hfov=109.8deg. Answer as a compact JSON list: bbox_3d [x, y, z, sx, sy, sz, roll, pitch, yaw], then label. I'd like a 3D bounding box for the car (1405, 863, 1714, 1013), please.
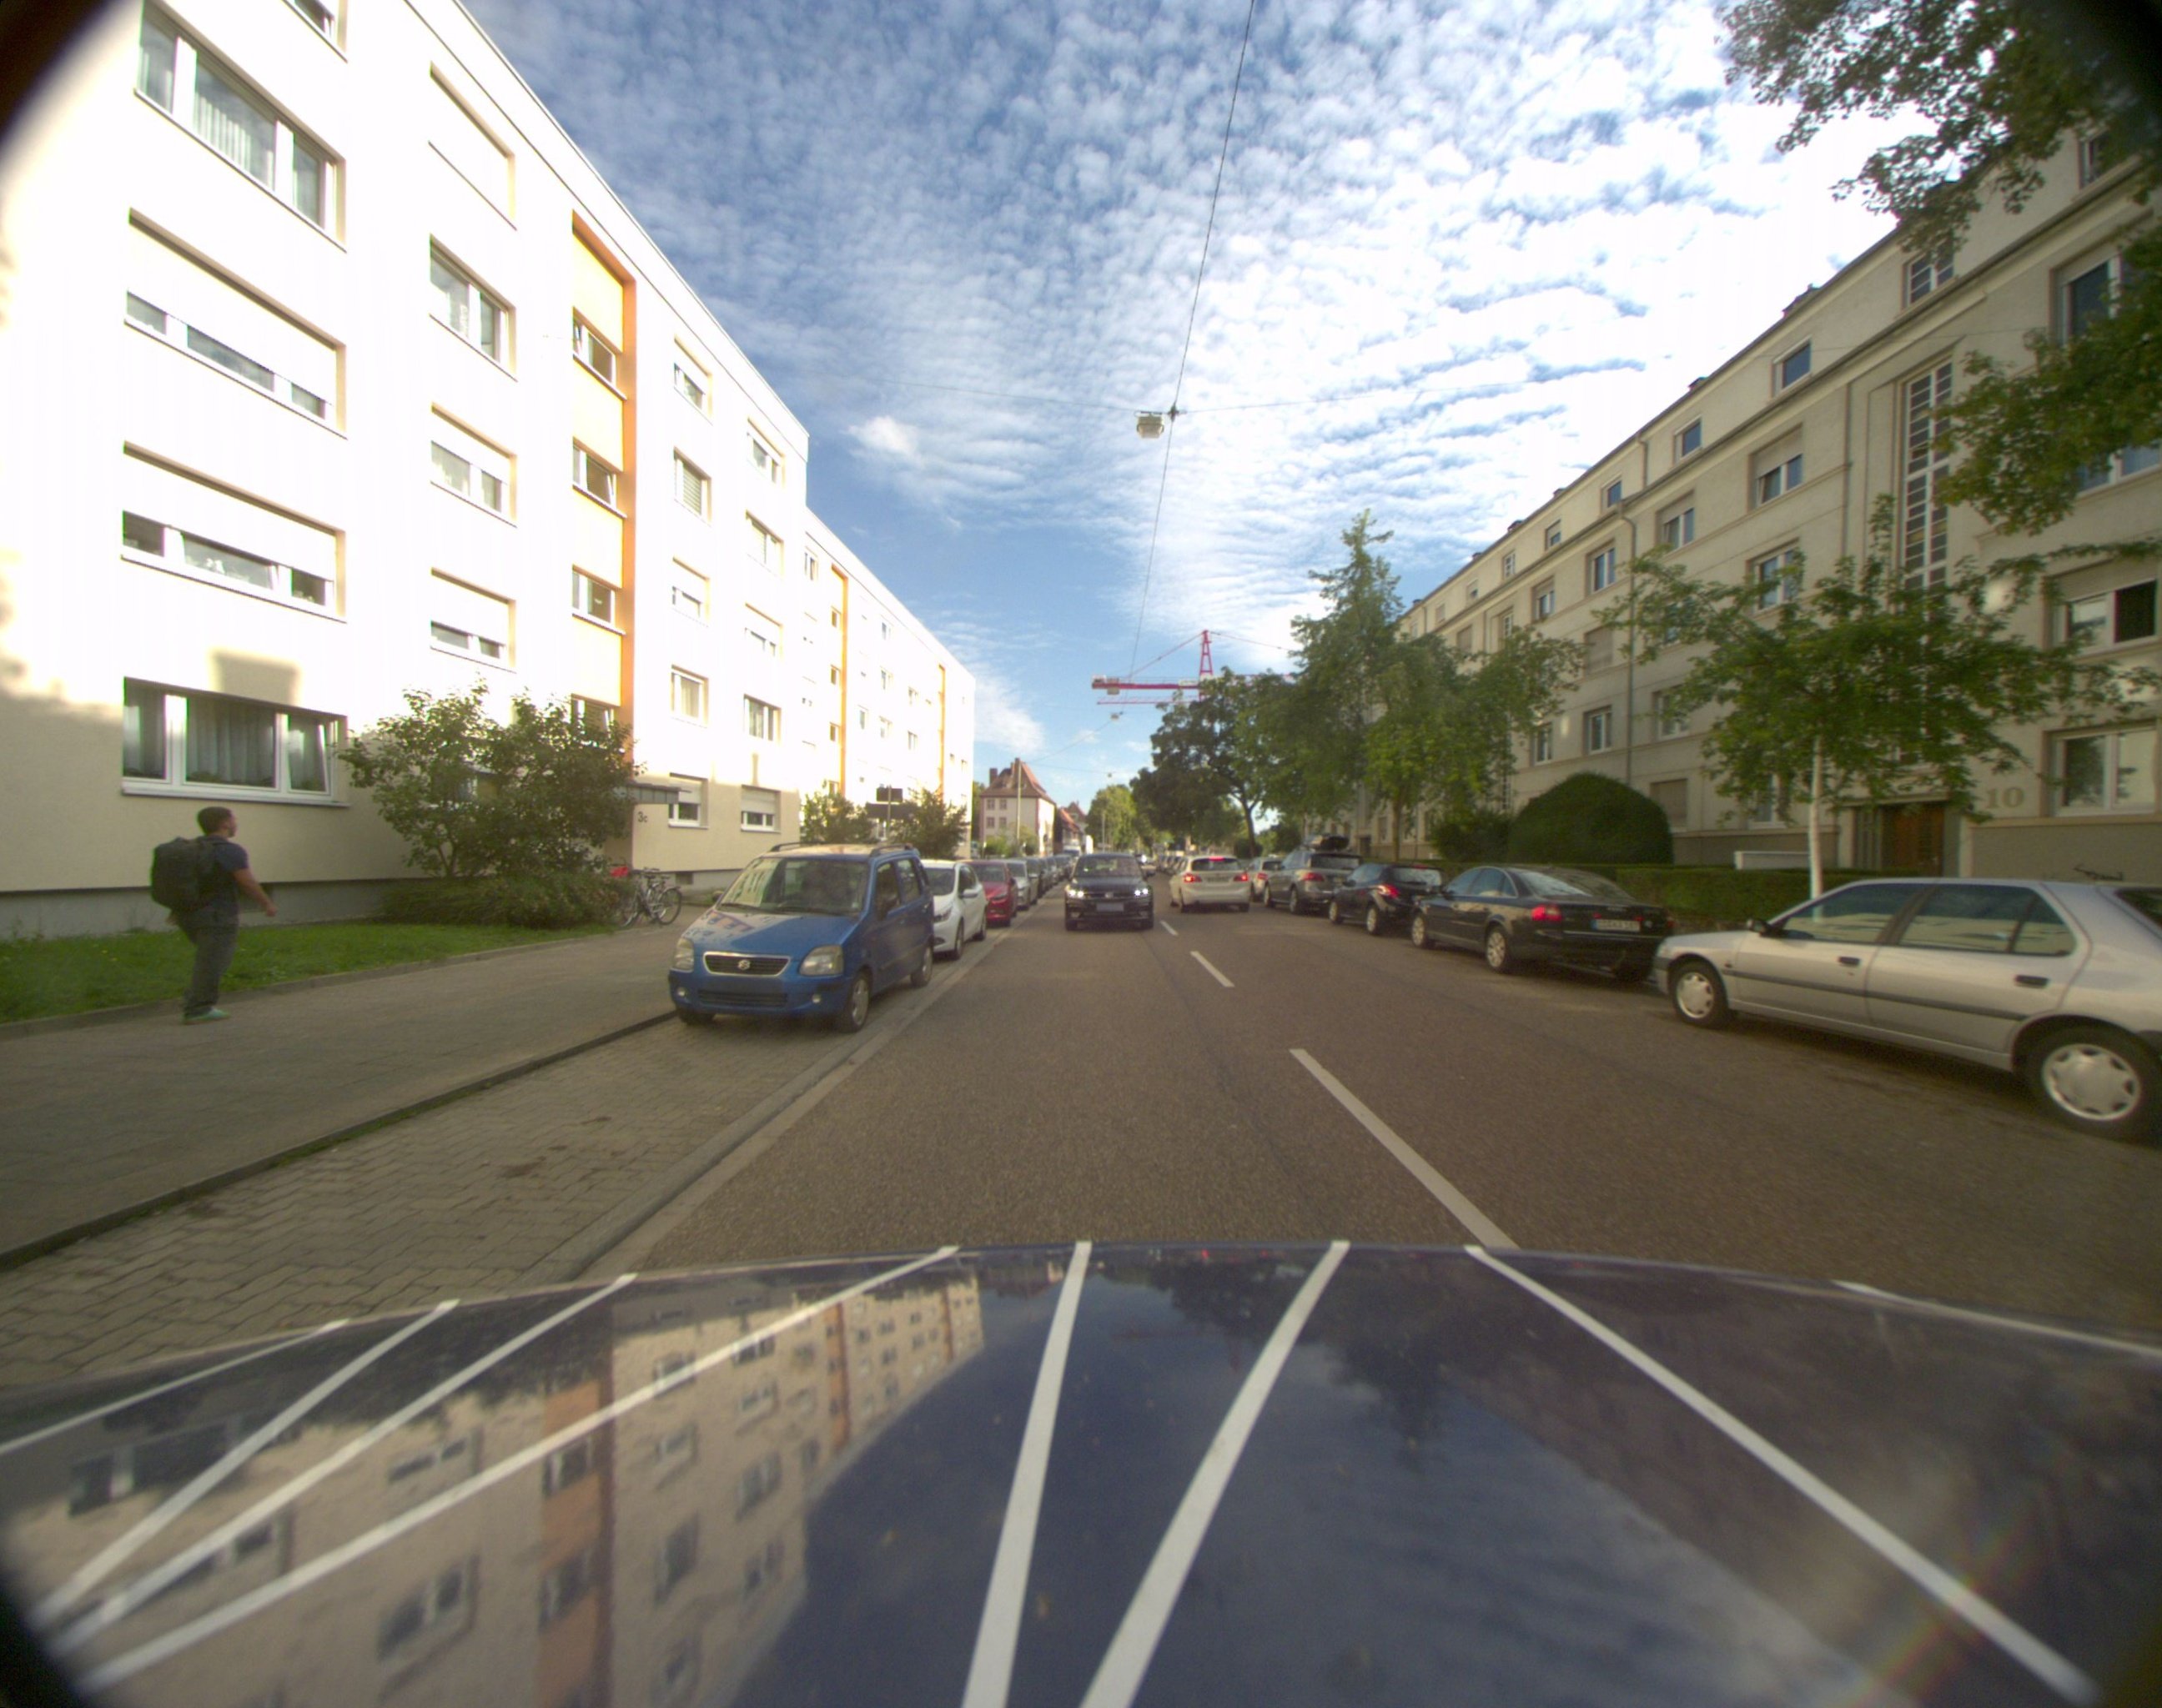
[{"bbox_3d":[6.220,0.946,10.622,1.689,1.472,4.452,4,1,4],"label":"car"}]

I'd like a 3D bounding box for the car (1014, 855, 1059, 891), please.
[{"bbox_3d":[-2.029,0.819,35.415,1.687,1.477,4.293,2,1,1],"label":"car"}]

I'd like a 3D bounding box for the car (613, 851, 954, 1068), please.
[{"bbox_3d":[-2.702,0.817,8.039,1.732,1.640,4.117,2,1,4],"label":"car"}]

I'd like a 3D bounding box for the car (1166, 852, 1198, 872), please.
[{"bbox_3d":[7.548,0.566,57.041,1.860,1.477,4.684,1,0,1],"label":"car"}]

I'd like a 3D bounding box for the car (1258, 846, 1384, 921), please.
[{"bbox_3d":[6.499,0.723,21.233,1.882,1.782,4.970,2,0,0],"label":"car"}]

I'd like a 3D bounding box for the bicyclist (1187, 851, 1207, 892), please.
[{"bbox_3d":[4.520,0.666,29.682,0.643,1.591,0.990,0,1,2],"label":"bicyclist"}]

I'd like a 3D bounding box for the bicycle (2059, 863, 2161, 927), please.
[{"bbox_3d":[18.427,0.698,13.334,0.543,1.050,1.541,0,0,1],"label":"bicycle"}]

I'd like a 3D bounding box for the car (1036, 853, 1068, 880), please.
[{"bbox_3d":[-1.719,0.709,45.780,1.688,1.492,3.873,1,0,0],"label":"car"}]

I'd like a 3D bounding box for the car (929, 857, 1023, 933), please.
[{"bbox_3d":[-2.371,0.883,18.112,1.733,1.506,4.190,1,1,-2],"label":"car"}]

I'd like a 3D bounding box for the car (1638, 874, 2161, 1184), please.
[{"bbox_3d":[6.135,0.949,5.229,1.604,1.410,3.963,3,0,0],"label":"car"}]

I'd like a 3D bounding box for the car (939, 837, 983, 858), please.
[{"bbox_3d":[-13.177,-0.715,83.804,4.275,2.179,2.368,0,1,9],"label":"car"}]

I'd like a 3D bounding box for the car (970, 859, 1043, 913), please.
[{"bbox_3d":[-2.176,0.904,23.171,1.665,1.408,4.059,2,1,2],"label":"car"}]

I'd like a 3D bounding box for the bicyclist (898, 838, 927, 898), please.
[{"bbox_3d":[-4.758,0.392,21.502,0.625,1.668,0.893,0,1,1],"label":"bicyclist"}]

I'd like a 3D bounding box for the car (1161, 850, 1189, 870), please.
[{"bbox_3d":[7.705,0.456,62.433,1.825,1.477,4.369,2,0,2],"label":"car"}]

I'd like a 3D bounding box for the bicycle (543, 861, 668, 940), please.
[{"bbox_3d":[-8.859,0.807,14.325,0.596,1.283,2.635,3,1,2],"label":"bicycle"}]

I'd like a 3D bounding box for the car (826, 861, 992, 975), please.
[{"bbox_3d":[-2.599,0.899,12.473,1.733,1.452,4.116,1,1,1],"label":"car"}]

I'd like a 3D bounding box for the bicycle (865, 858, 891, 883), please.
[{"bbox_3d":[-8.864,0.703,33.195,0.502,1.024,2.095,3,1,1],"label":"bicycle"}]

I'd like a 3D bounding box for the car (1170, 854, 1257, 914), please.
[{"bbox_3d":[3.581,0.763,21.221,1.863,1.520,4.011,0,0,2],"label":"car"}]

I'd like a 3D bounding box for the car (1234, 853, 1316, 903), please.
[{"bbox_3d":[6.746,0.771,26.906,1.859,1.564,4.460,2,0,2],"label":"car"}]

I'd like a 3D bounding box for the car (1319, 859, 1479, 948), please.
[{"bbox_3d":[6.459,0.926,15.969,1.689,1.472,4.119,4,1,2],"label":"car"}]

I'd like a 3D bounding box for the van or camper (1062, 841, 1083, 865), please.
[{"bbox_3d":[-0.909,-0.164,85.453,2.165,2.512,5.914,3,0,1],"label":"van or camper"}]

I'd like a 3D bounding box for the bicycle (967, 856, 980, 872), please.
[{"bbox_3d":[-7.250,0.689,51.440,0.597,0.992,1.692,0,2,1],"label":"bicycle"}]

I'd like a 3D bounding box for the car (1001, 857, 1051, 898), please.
[{"bbox_3d":[-2.122,0.874,30.314,1.666,1.482,3.941,2,0,0],"label":"car"}]

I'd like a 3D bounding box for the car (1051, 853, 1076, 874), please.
[{"bbox_3d":[-1.271,0.659,55.896,1.688,1.459,4.206,1,0,0],"label":"car"}]

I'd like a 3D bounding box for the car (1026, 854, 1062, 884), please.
[{"bbox_3d":[-1.933,0.769,40.533,1.704,1.455,4.179,1,0,-1],"label":"car"}]

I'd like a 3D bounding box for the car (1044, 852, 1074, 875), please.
[{"bbox_3d":[-1.444,0.600,50.832,1.687,1.427,4.207,1,0,3],"label":"car"}]

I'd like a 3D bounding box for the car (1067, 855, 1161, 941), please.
[{"bbox_3d":[0.713,0.868,17.027,1.859,1.673,4.000,-1,0,2],"label":"car"}]

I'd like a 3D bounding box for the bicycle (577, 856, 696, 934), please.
[{"bbox_3d":[-8.255,0.709,14.286,0.605,1.283,2.635,2,1,2],"label":"bicycle"}]

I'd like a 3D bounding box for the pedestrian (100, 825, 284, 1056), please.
[{"bbox_3d":[-7.030,0.642,6.046,0.543,1.711,0.772,1,1,7],"label":"pedestrian"}]

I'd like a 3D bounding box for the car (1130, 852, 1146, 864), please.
[{"bbox_3d":[7.100,0.511,95.160,1.744,1.493,4.010,0,0,1],"label":"car"}]

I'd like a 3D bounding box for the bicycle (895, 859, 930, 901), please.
[{"bbox_3d":[-4.757,0.705,21.539,0.525,1.128,1.929,0,1,1],"label":"bicycle"}]

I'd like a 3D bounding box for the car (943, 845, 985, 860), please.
[{"bbox_3d":[-12.384,-0.161,80.480,4.084,1.473,1.872,0,1,10],"label":"car"}]

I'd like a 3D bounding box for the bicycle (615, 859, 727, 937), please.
[{"bbox_3d":[-7.614,0.752,14.285,0.605,1.283,2.635,1,1,2],"label":"bicycle"}]

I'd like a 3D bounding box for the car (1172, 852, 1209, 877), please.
[{"bbox_3d":[7.400,0.685,51.657,1.860,1.477,4.798,4,0,1],"label":"car"}]

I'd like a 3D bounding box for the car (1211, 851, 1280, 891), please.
[{"bbox_3d":[6.852,0.644,32.175,1.860,1.477,4.944,3,0,1],"label":"car"}]

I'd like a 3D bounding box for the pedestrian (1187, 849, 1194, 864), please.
[{"bbox_3d":[12.971,0.323,89.921,0.743,1.758,0.775,-1,1,0],"label":"pedestrian"}]
